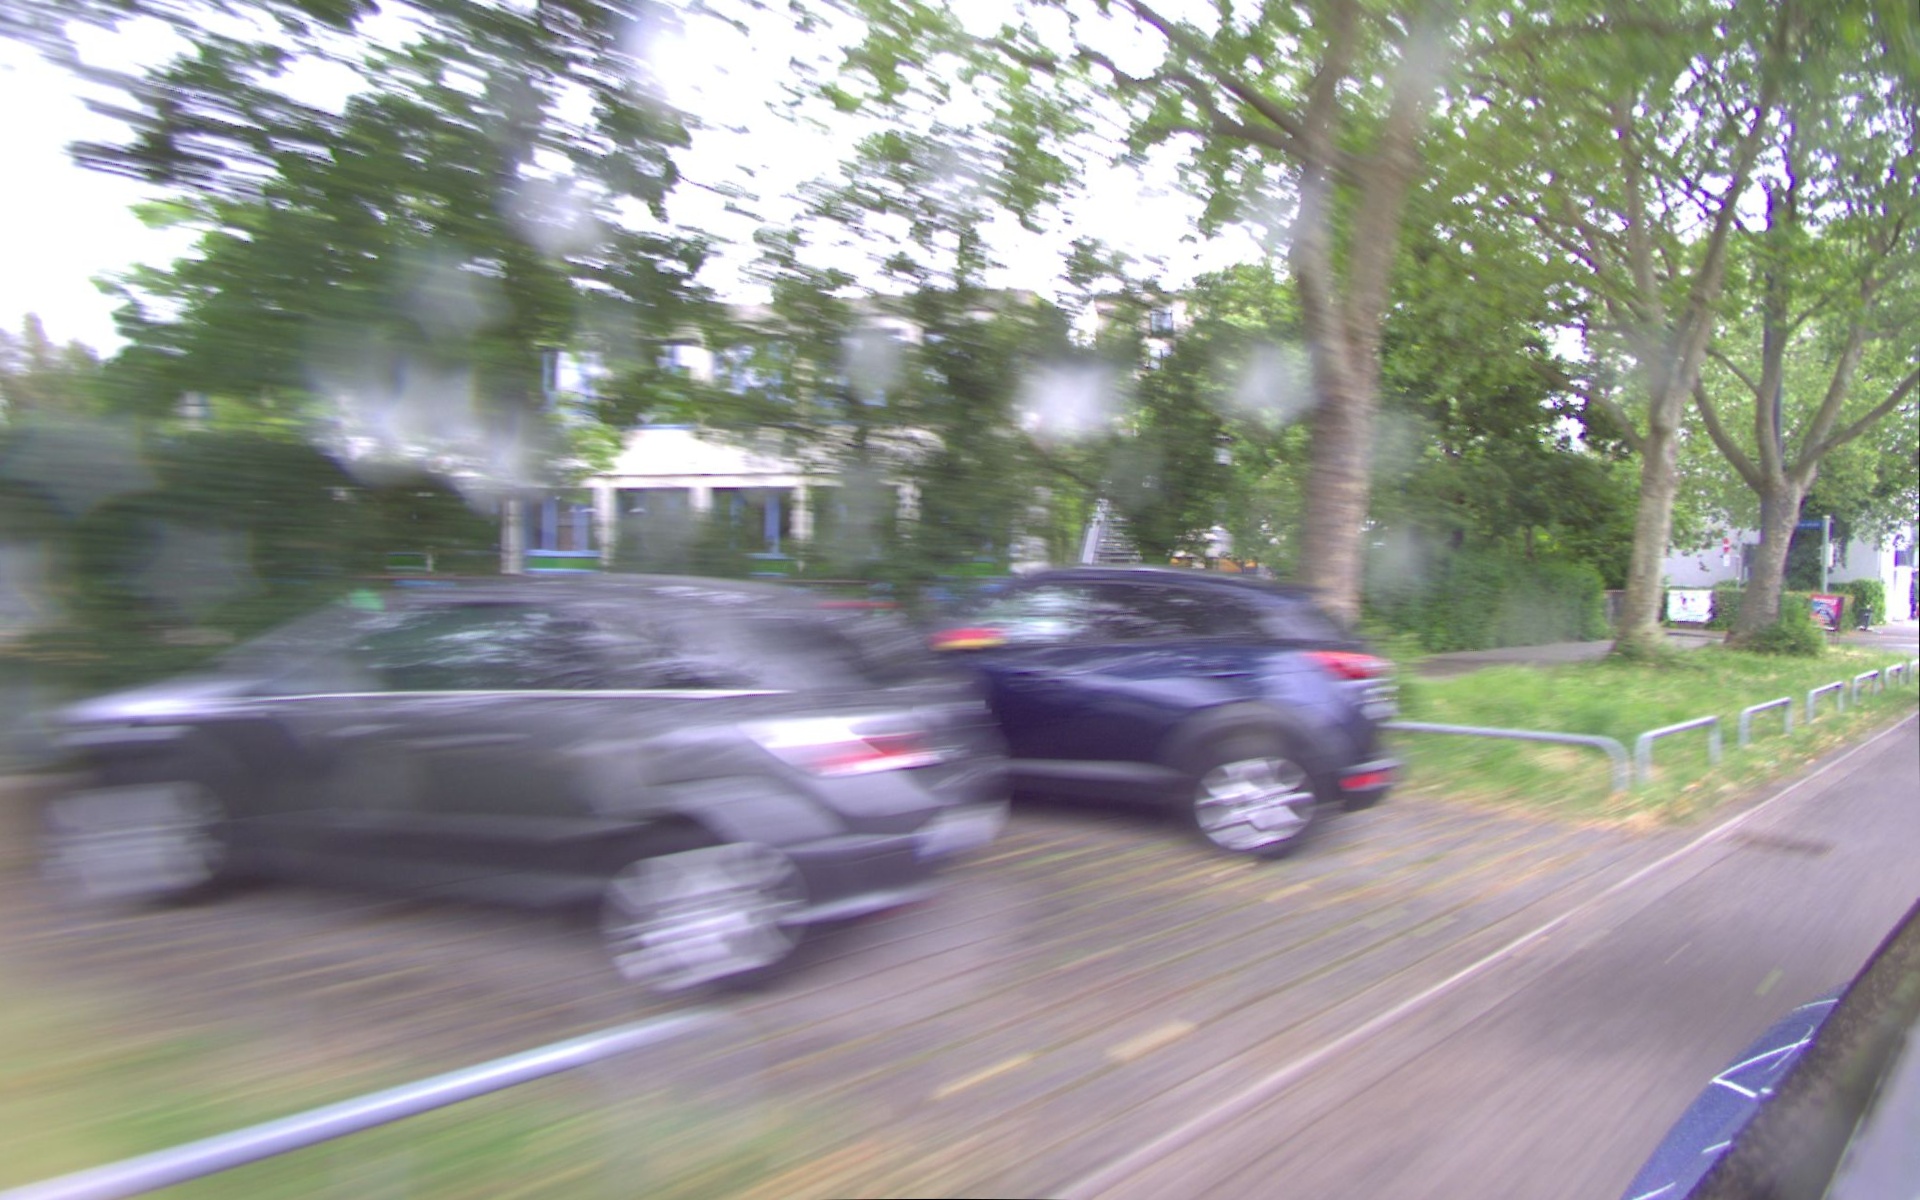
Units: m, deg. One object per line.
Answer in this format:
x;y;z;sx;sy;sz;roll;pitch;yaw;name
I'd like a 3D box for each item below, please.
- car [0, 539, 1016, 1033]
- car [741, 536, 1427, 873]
-1.895;0.520;4.522;4.004;1.435;1.736;3;3;14;car
0.751;0.458;6.455;3.755;1.551;1.873;3;2;18;car
